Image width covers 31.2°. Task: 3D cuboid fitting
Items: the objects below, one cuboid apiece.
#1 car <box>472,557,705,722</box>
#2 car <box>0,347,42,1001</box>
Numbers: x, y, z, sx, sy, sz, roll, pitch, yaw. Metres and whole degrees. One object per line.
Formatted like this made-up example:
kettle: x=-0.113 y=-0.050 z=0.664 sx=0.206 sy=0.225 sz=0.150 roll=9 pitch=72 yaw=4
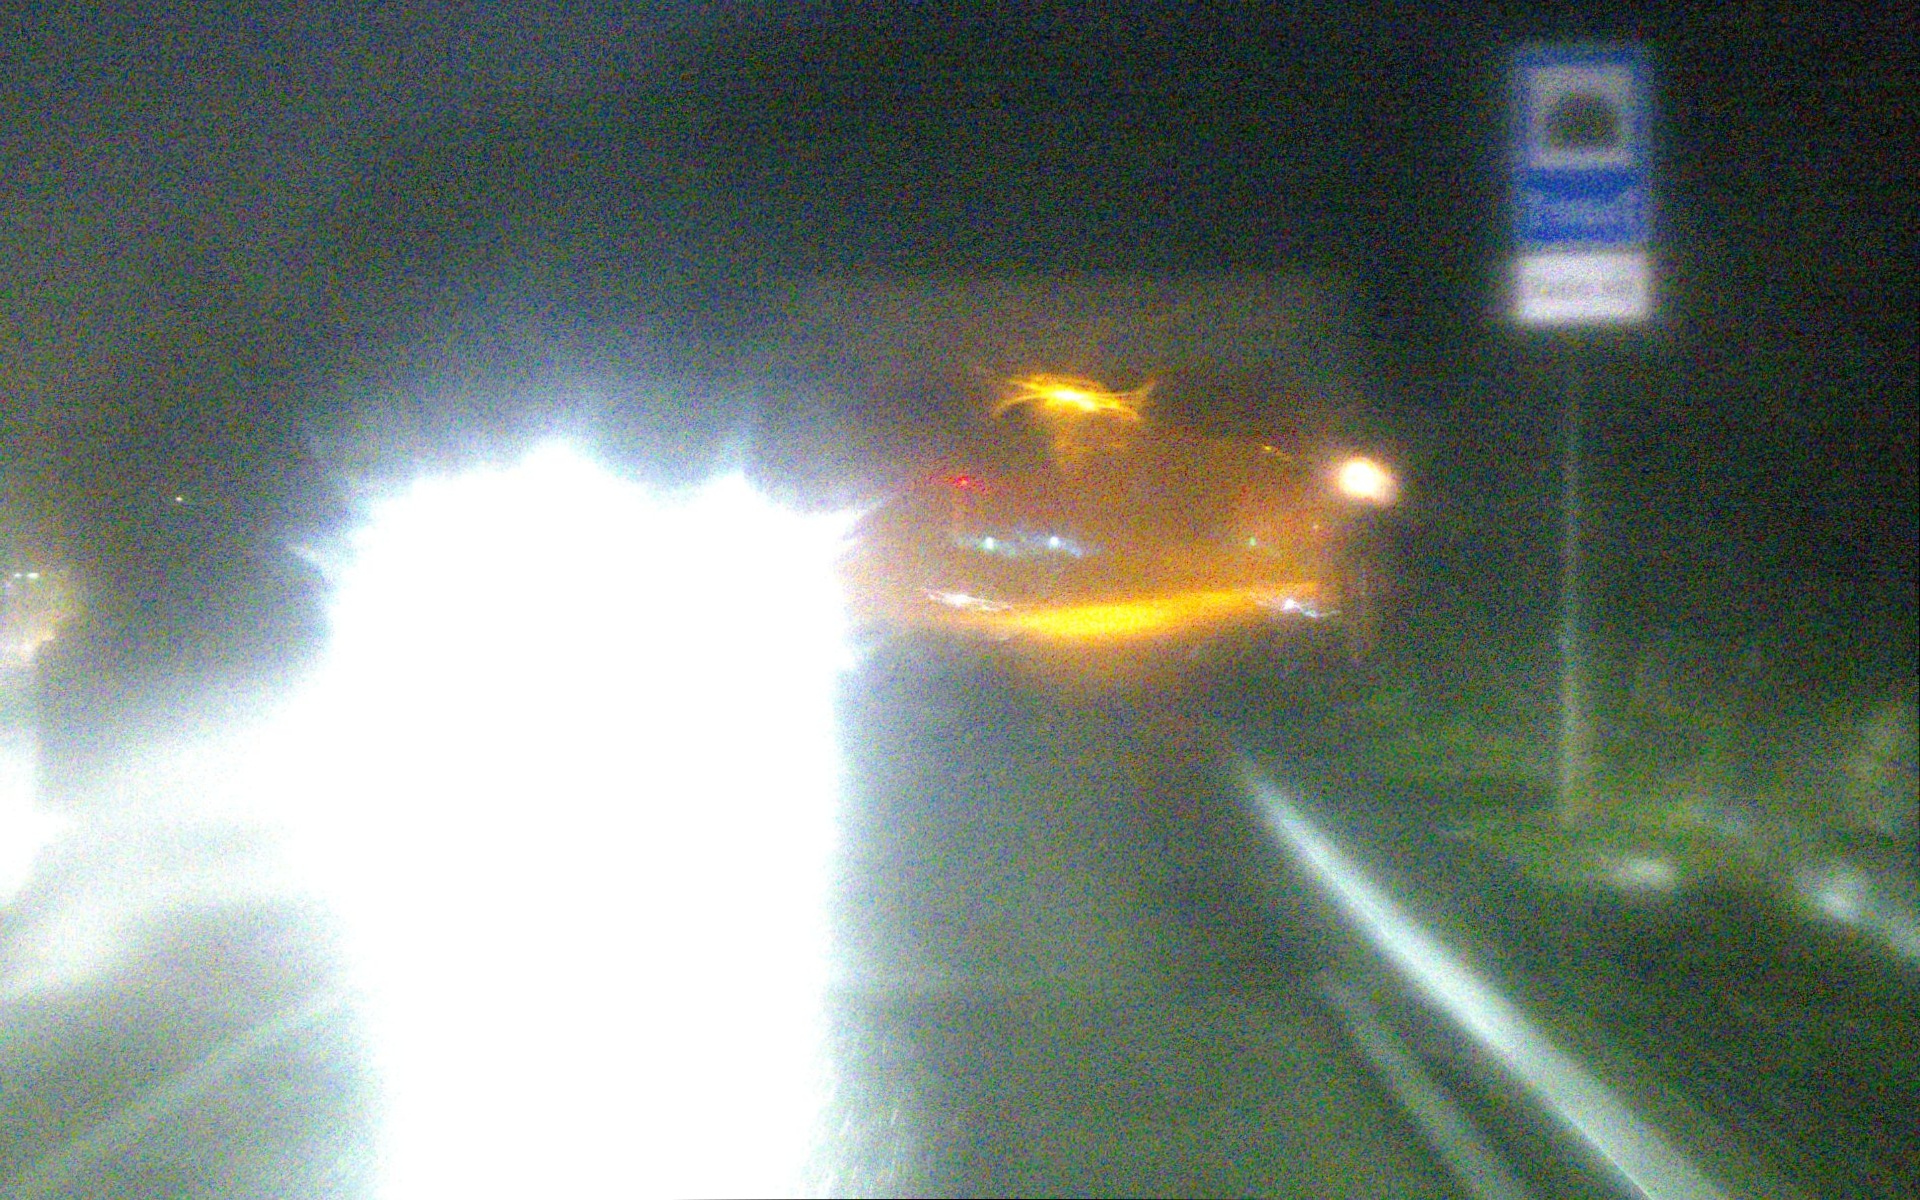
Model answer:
car: x=-3.331 y=0.325 z=31.500 sx=1.591 sy=1.375 sz=4.325 roll=1 pitch=0 yaw=1
car: x=-3.861 y=0.250 z=8.405 sx=1.891 sy=1.996 sz=4.881 roll=2 pitch=1 yaw=0
